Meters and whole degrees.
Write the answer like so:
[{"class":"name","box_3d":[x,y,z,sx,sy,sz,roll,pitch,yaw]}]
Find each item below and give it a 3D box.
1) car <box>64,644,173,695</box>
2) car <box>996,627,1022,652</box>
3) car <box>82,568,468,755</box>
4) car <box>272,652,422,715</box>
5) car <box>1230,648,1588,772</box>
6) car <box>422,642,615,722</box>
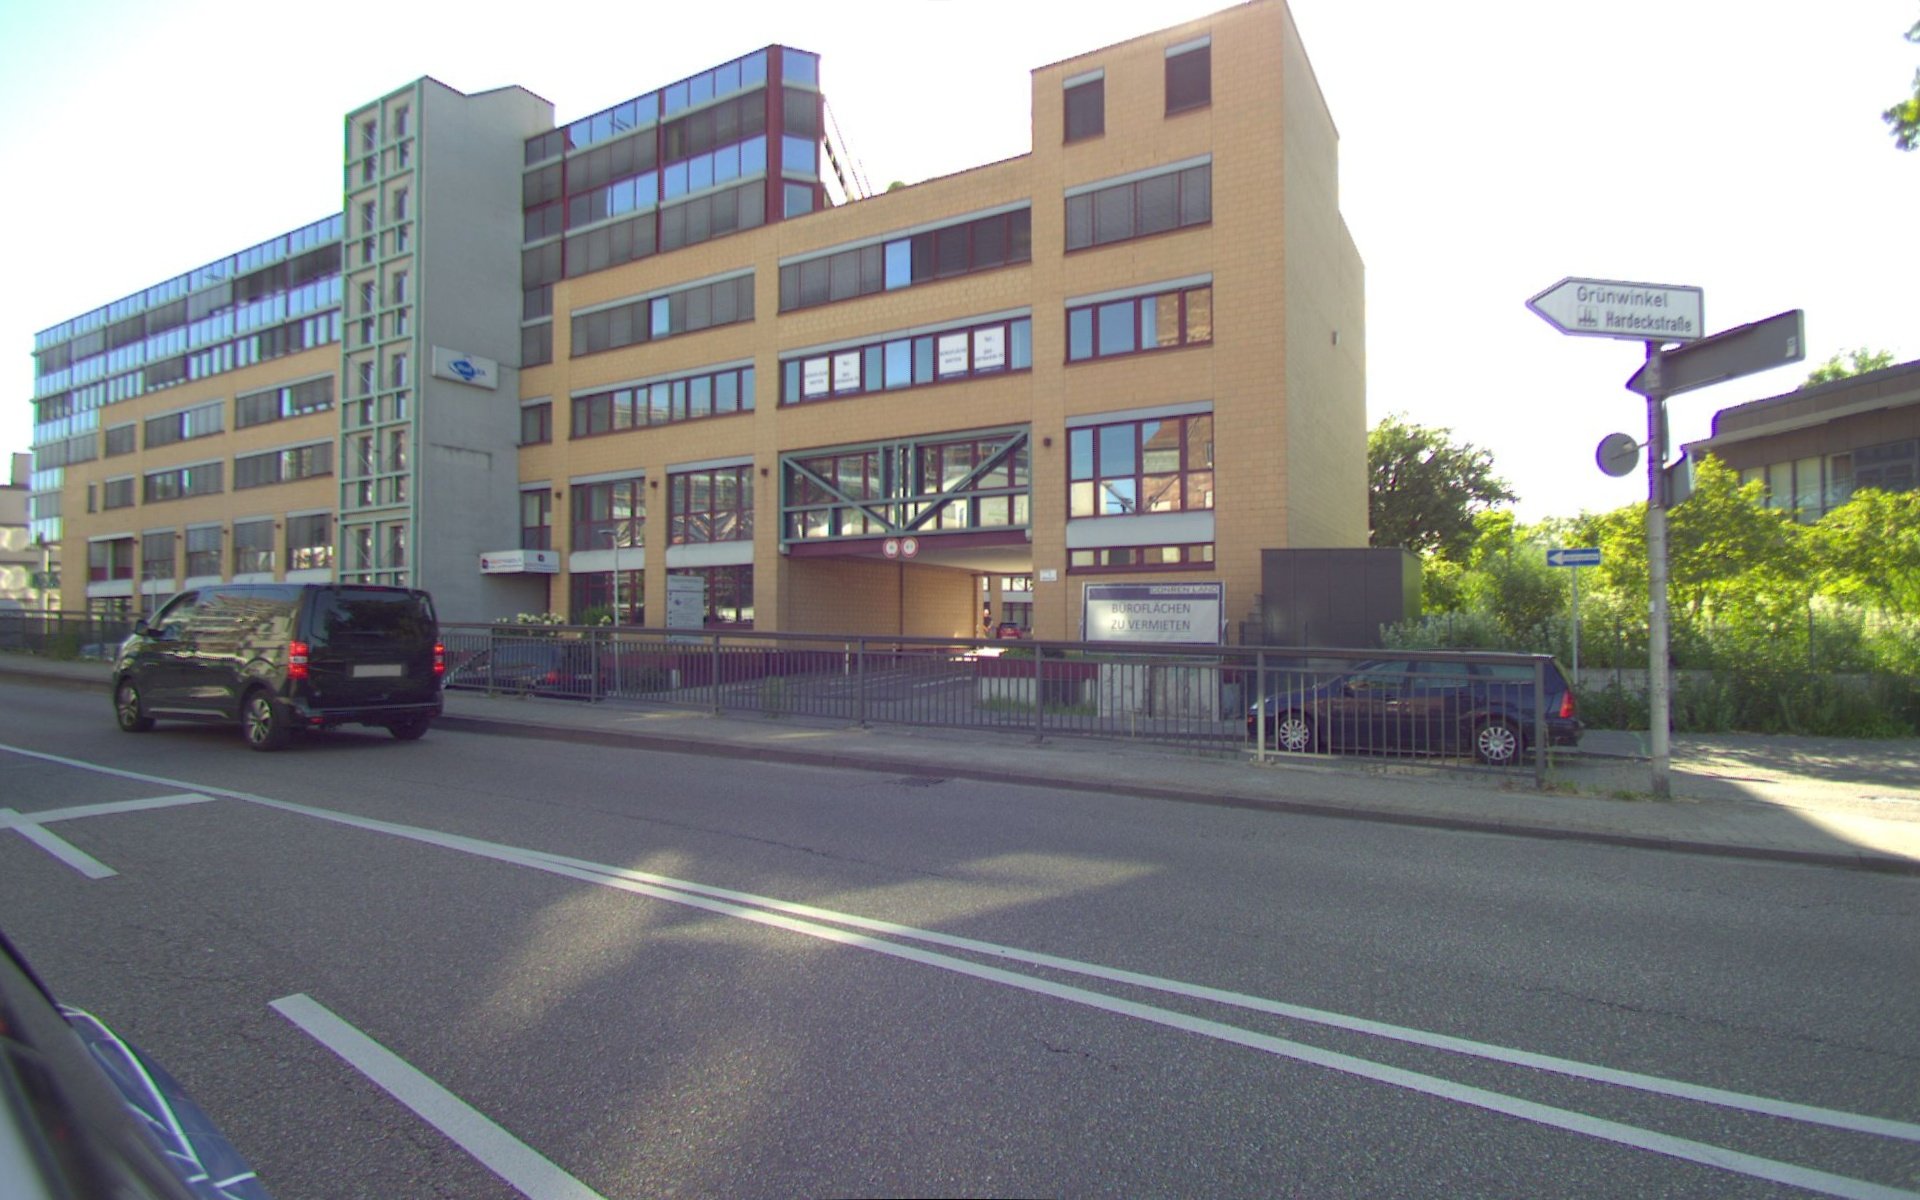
[{"class":"car","box_3d":[-30.796,2.487,37.035,3.989,1.737,1.977,-1,-3,34]},{"class":"car","box_3d":[3.196,2.588,66.526,1.621,1.586,3.150,-1,-2,3]},{"class":"car","box_3d":[-8.584,0.719,12.612,4.830,1.950,1.981,-1,-2,29]},{"class":"car","box_3d":[-17.420,2.315,28.729,4.340,1.616,1.807,-1,-3,31]},{"class":"car","box_3d":[6.332,1.450,14.480,4.438,1.515,1.805,-2,-3,34]},{"class":"car","box_3d":[-10.845,1.927,24.786,4.668,1.771,1.937,-1,-1,29]}]
